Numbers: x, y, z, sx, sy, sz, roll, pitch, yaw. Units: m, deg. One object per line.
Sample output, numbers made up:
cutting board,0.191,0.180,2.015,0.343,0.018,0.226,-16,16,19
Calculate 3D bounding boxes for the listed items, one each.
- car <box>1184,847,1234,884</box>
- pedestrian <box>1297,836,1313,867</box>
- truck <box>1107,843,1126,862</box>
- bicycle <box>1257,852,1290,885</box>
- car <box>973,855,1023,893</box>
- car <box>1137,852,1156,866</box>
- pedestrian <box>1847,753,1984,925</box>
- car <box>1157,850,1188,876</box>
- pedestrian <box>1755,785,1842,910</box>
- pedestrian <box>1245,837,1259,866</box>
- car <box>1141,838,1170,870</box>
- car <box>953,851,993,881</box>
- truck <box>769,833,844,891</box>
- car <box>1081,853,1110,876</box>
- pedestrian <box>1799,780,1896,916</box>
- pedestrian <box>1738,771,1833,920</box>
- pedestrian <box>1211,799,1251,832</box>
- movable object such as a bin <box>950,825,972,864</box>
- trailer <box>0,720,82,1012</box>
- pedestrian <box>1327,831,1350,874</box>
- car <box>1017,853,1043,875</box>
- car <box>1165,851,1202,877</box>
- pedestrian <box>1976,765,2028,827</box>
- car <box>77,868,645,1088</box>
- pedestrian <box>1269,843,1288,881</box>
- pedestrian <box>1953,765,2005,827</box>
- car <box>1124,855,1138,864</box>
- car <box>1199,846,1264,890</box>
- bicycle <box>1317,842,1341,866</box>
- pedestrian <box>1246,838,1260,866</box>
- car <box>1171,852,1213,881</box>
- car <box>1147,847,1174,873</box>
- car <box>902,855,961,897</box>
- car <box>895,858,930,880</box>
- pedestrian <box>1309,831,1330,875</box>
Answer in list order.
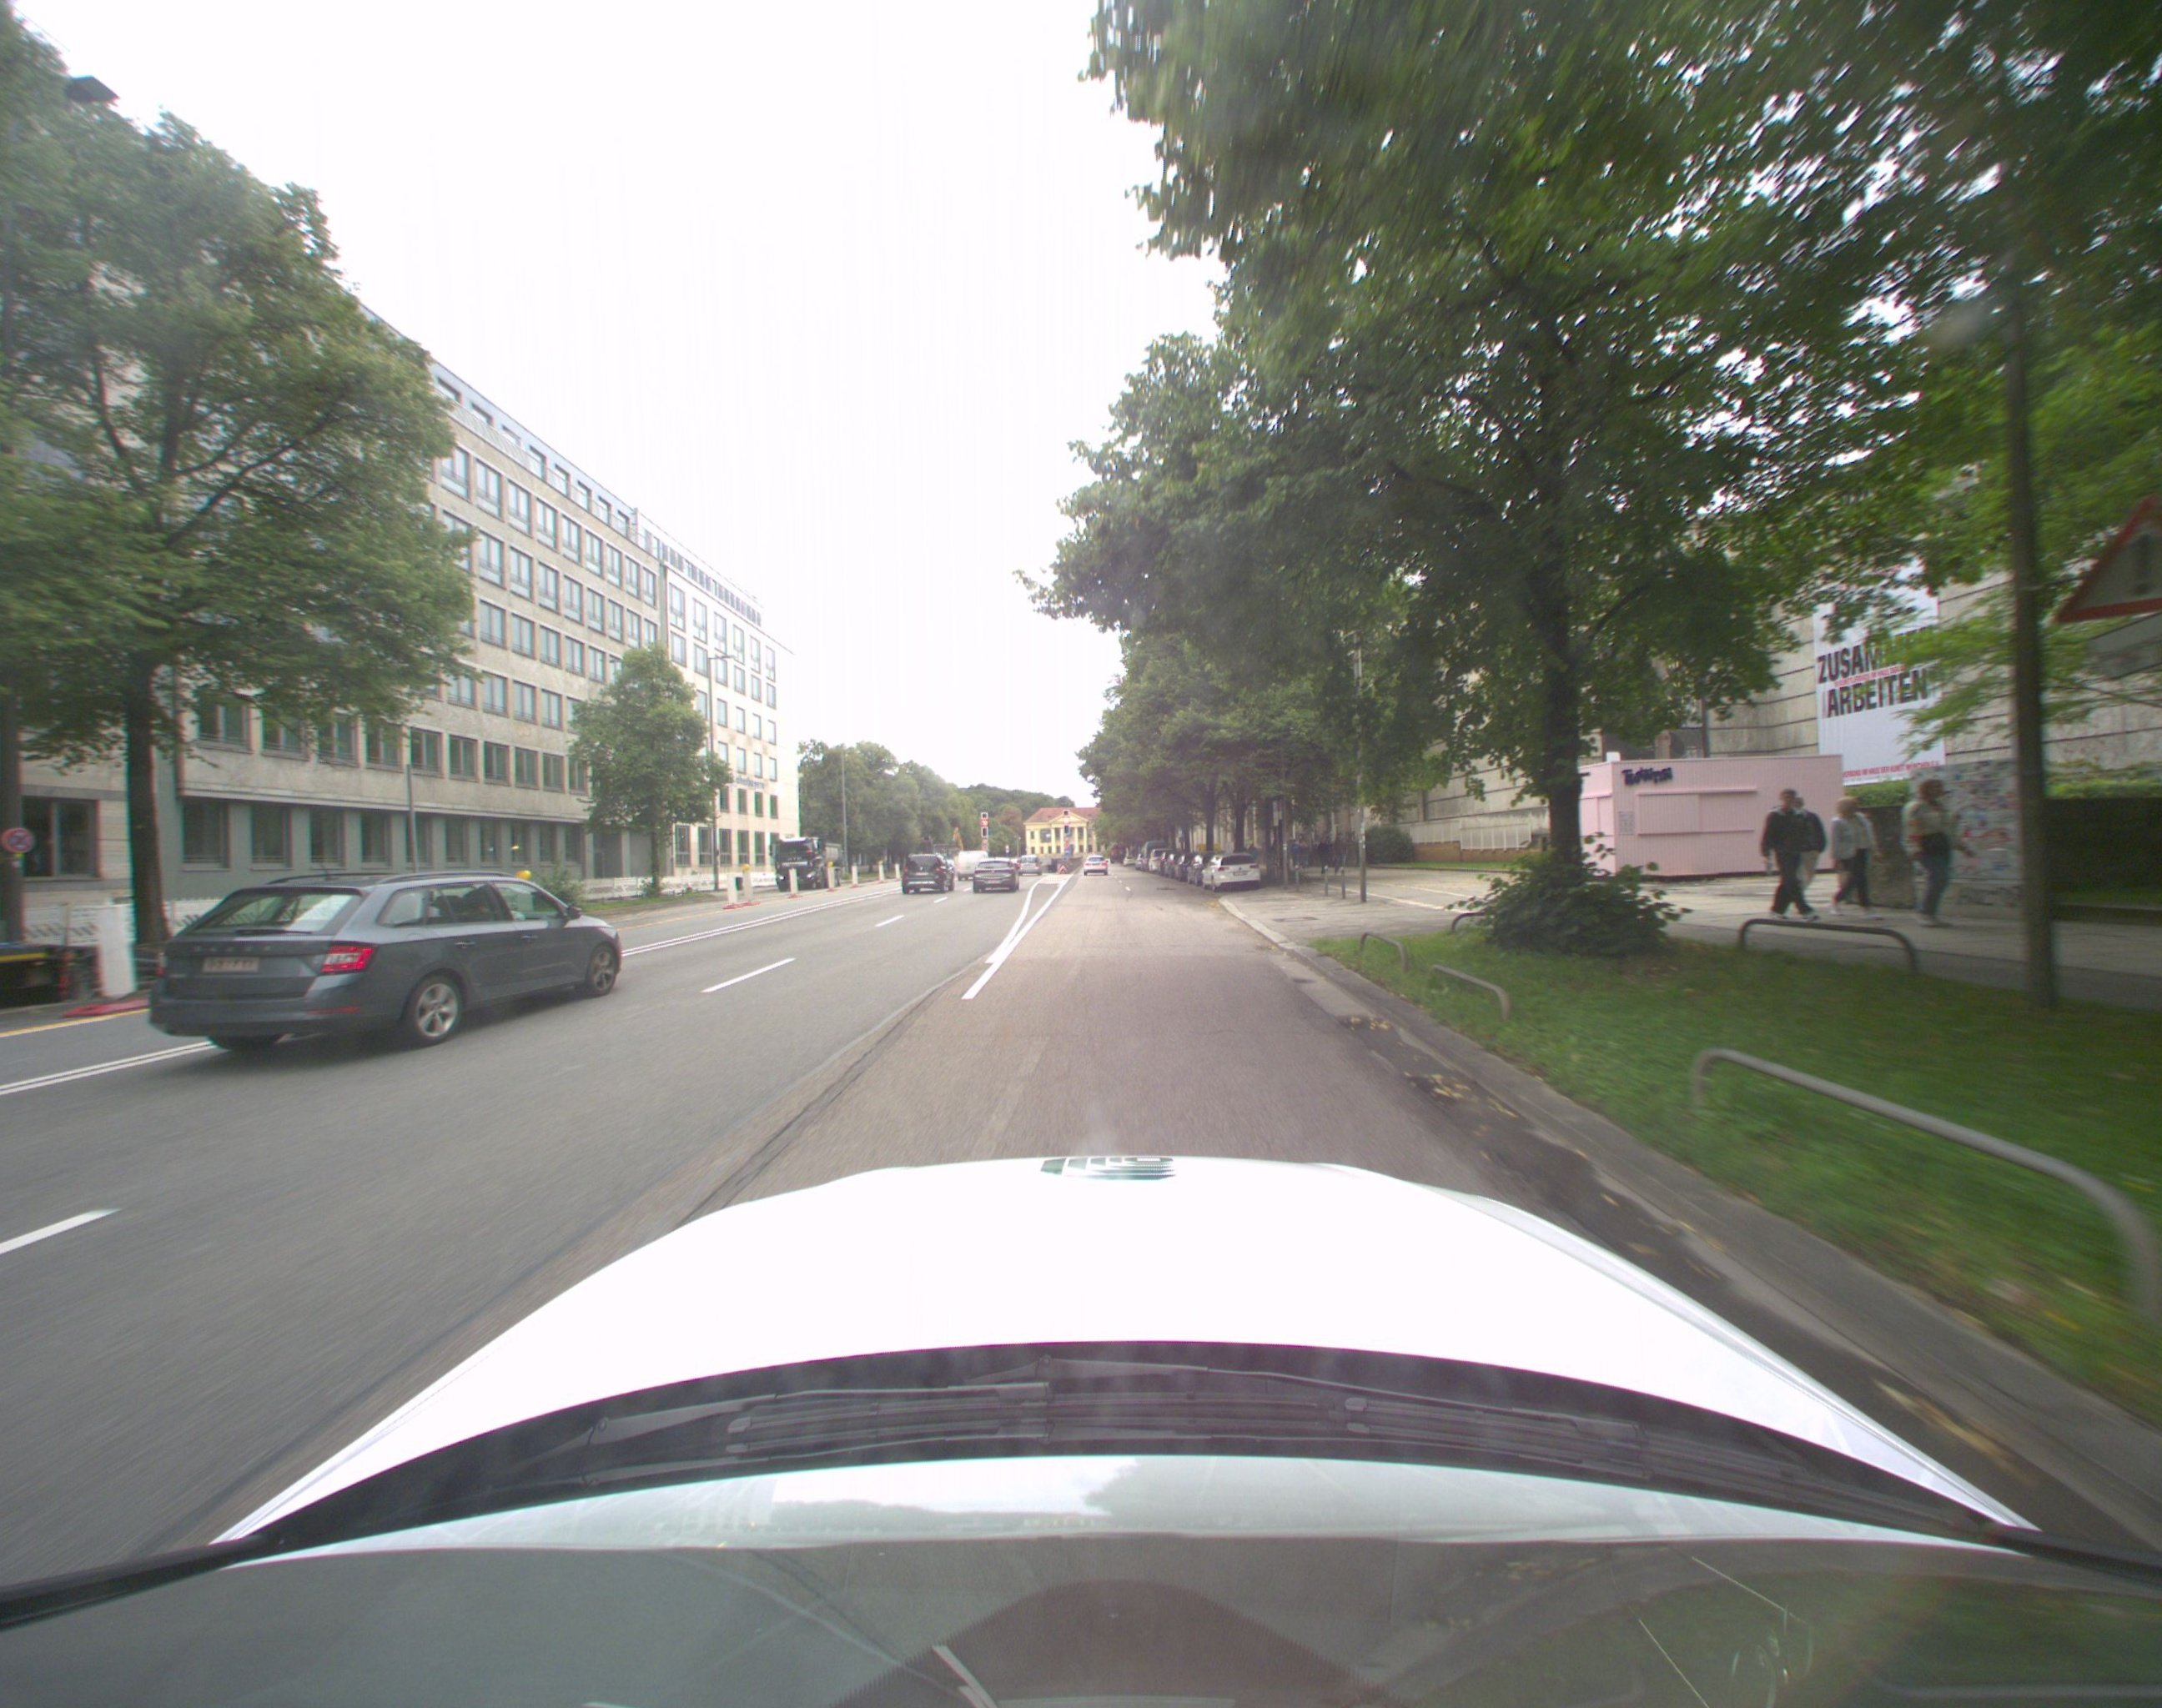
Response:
car,5.985,0.517,38.489,1.718,1.549,4.587,-3,0,2
pedestrian,13.678,-0.147,49.707,0.776,1.910,0.771,-1,0,1
truck,6.719,-0.255,154.649,3.314,3.367,8.664,-1,0,1
bicycle,7.420,0.535,31.530,0.626,1.231,2.617,-1,0,-1
car,-3.556,0.829,35.396,1.704,1.552,4.000,-1,0,1
car,6.578,0.514,82.203,1.718,1.324,4.029,-3,0,2
pedestrian,10.419,-0.180,10.203,0.760,2.013,0.777,-5,0,1
car,6.266,0.596,56.065,1.718,1.665,4.591,-3,0,2
pedestrian,10.876,-0.100,12.361,0.597,1.809,0.719,-4,0,-23
pedestrian,11.751,-0.171,55.980,0.776,1.910,0.771,-1,0,1
car,6.454,0.020,70.640,1.987,2.643,4.876,-1,0,-1
car,-7.049,0.763,53.630,1.892,1.847,4.955,-2,0,0
truck,-17.249,0.471,51.758,2.838,3.357,8.741,-1,0,-7
car,1.067,0.791,61.807,1.776,1.644,3.994,-1,0,-4
pedestrian,10.679,-0.083,11.357,0.597,1.809,0.719,-4,0,-23
pedestrian,10.002,-0.120,11.584,0.592,2.013,0.725,-4,0,1
pedestrian,9.975,-2.537,54.524,1.986,2.013,4.001,-1,0,1
movable object such as a bin,-20.270,-1.590,138.016,2.690,6.510,5.177,-1,0,1
trailer,-15.034,0.177,5.347,2.943,3.740,11.756,-1,0,-3
pedestrian,11.510,-0.073,36.450,0.761,1.910,0.771,-1,0,1
car,-4.001,0.794,64.407,1.773,1.654,4.000,-1,0,0
car,6.247,0.592,49.934,1.816,1.464,4.029,-3,0,2
pedestrian,24.122,-1.511,21.340,0.485,1.558,0.771,-1,0,1
car,-6.296,0.920,7.980,1.788,1.447,4.272,-2,0,-1
pedestrian,9.885,0.391,40.831,0.776,1.910,0.771,-1,0,1
pedestrian,23.531,-1.504,21.349,0.485,1.558,0.771,-1,0,1
car,7.188,0.783,117.351,1.718,1.324,4.029,-3,0,2
car,5.941,0.526,32.640,1.821,1.549,4.753,-3,0,2
bicycle,15.087,0.007,49.592,0.697,1.415,2.299,-2,0,1
pedestrian,11.606,-0.128,54.903,0.776,1.910,0.771,-1,0,1
car,6.035,0.641,44.774,1.718,1.464,4.777,-3,0,2
car,6.208,0.440,63.782,1.718,1.867,4.029,-3,0,2
car,-6.445,0.903,35.448,1.717,1.636,4.204,-2,0,0
car,-13.450,1.156,65.137,1.989,1.596,3.996,-3,0,-2
pedestrian,10.702,-0.048,36.518,0.697,1.910,0.771,-1,0,1
